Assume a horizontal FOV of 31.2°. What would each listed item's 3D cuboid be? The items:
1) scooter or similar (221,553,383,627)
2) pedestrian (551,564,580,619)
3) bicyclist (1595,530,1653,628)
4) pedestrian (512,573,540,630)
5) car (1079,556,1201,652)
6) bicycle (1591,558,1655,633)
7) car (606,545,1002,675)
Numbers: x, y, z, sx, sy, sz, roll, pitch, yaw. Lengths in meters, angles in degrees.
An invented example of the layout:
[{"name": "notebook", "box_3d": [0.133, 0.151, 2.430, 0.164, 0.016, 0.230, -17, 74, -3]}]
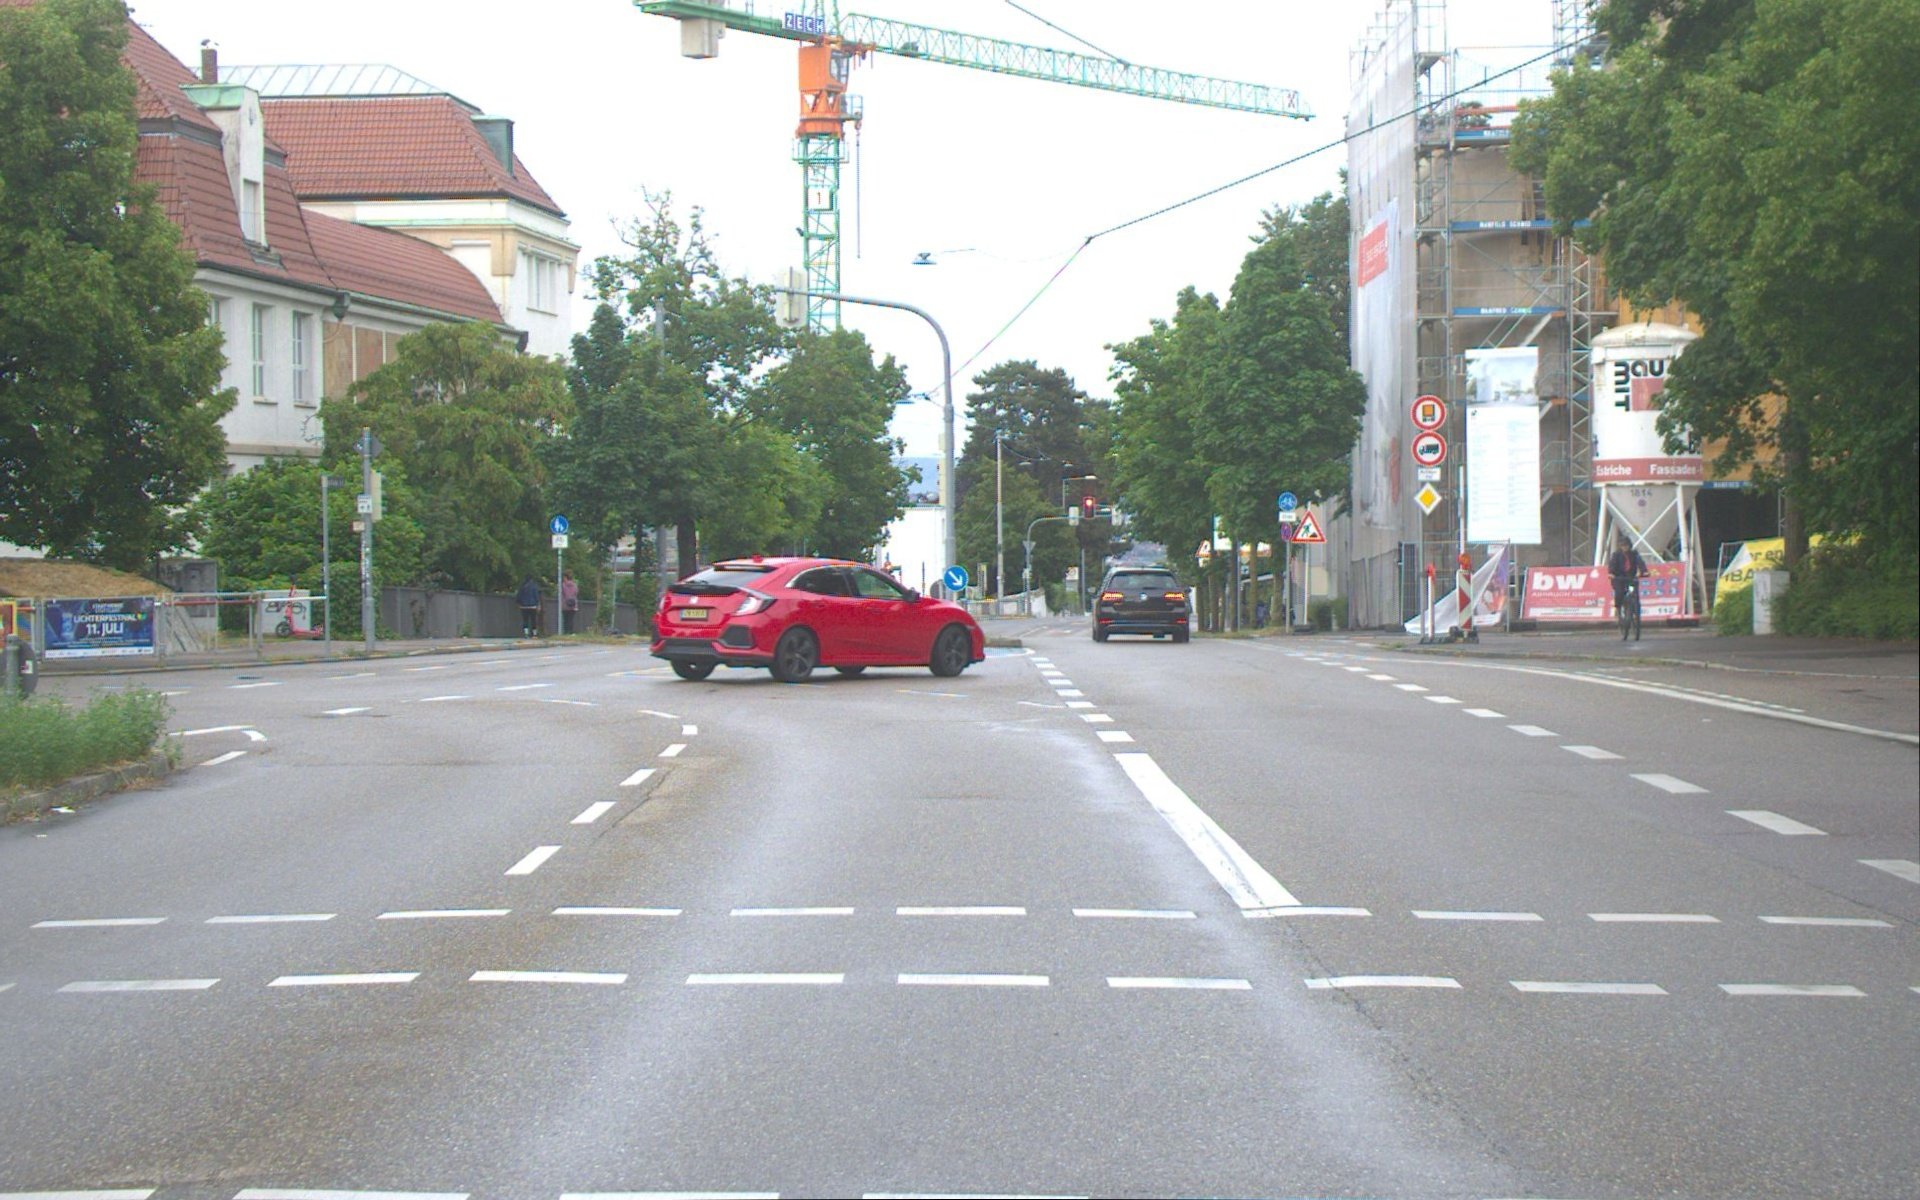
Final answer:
[{"name": "scooter or similar", "box_3d": [-13.232, -0.201, 69.206, 3.087, 1.435, 0.949, -1, 1, -2]}, {"name": "pedestrian", "box_3d": [-9.922, -0.213, 86.531, 0.637, 1.381, 0.606, 1, -1, -1]}, {"name": "bicyclist", "box_3d": [10.815, -0.333, 56.037, 0.720, 1.558, 1.143, 1, -1, 1]}, {"name": "pedestrian", "box_3d": [-10.853, 0.040, 85.951, 0.587, 1.424, 0.467, 1, -1, 1]}, {"name": "car", "box_3d": [3.362, 0.099, 64.845, 1.993, 1.700, 4.000, 1, -1, -1]}, {"name": "bicycle", "box_3d": [10.811, -0.063, 56.069, 0.720, 1.189, 1.756, 1, -1, 1]}, {"name": "car", "box_3d": [-1.767, 0.076, 40.146, 1.999, 1.420, 4.508, 1, 1, 43]}]
